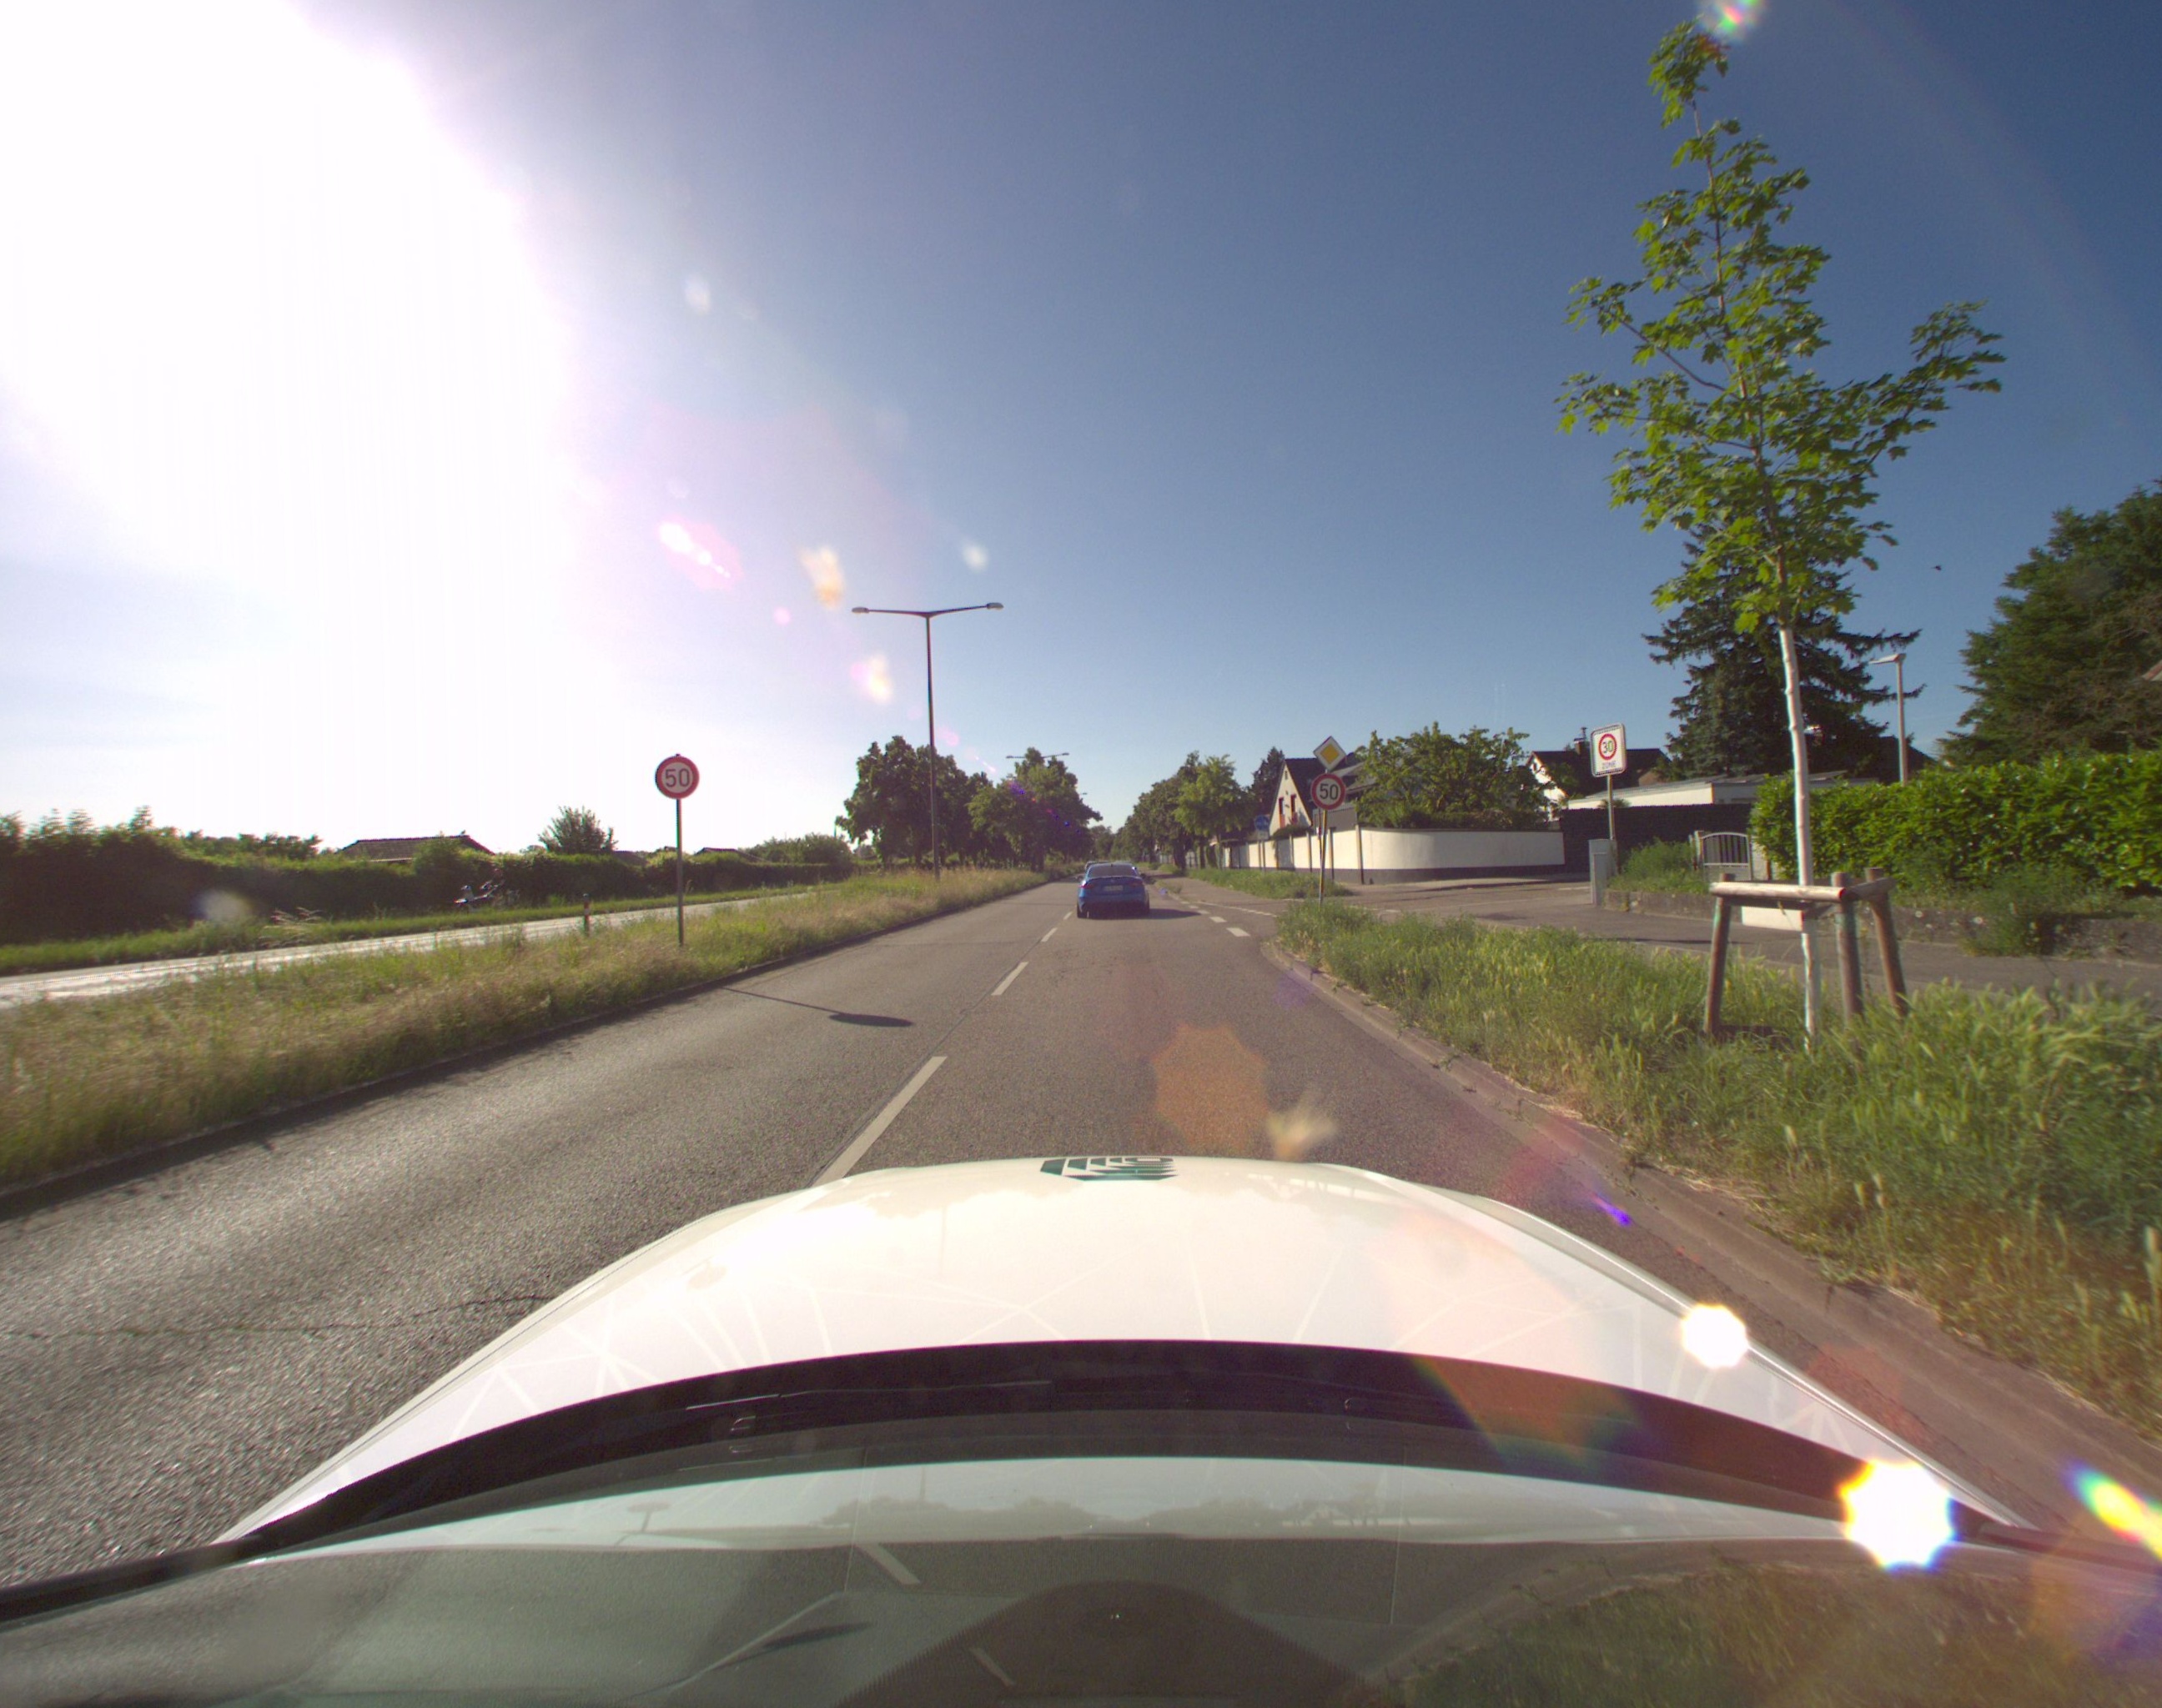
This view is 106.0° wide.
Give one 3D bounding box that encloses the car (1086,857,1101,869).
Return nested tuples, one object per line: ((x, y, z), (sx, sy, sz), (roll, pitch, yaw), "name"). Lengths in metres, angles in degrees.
((1.598, 1.104, 104.394), (1.909, 1.512, 4.067), (-1, 0, 0), "car")

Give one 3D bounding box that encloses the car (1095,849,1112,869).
((2.426, 0.563, 87.789), (1.786, 2.014, 4.002), (-1, -1, 2), "car")

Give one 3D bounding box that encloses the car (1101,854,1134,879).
((2.379, 0.795, 54.592), (1.910, 1.579, 4.179), (-1, 0, -2), "car")

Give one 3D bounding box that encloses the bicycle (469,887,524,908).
((-22.635, 1.675, 31.599), (0.561, 0.695, 1.880), (-1, 0, 9), "bicycle")

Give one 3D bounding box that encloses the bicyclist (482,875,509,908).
((-22.651, 1.445, 31.505), (0.579, 1.257, 0.577), (-1, -1, 9), "bicyclist")

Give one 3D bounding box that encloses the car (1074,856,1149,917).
((0.893, 0.823, 22.405), (1.831, 1.474, 4.188), (-2, 0, 3), "car")
